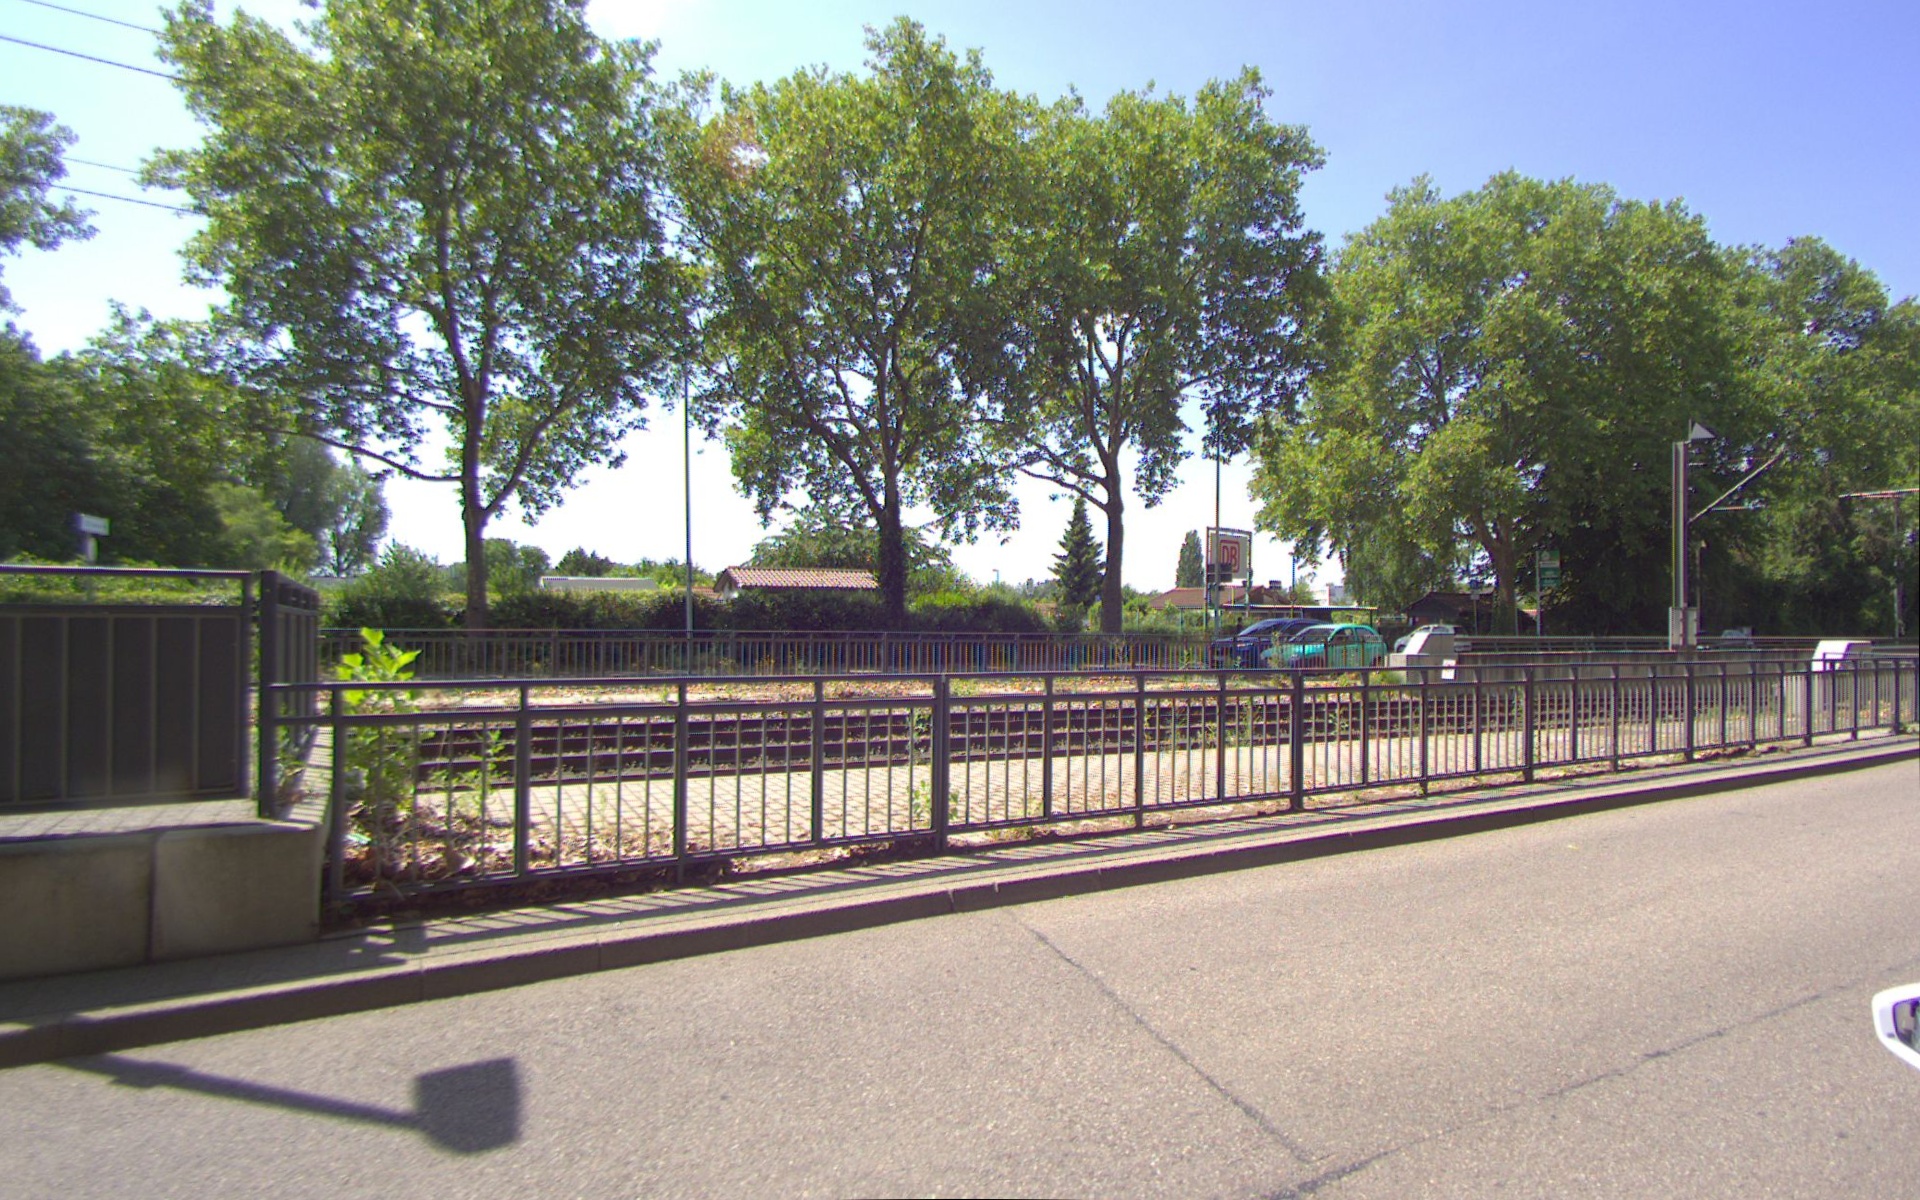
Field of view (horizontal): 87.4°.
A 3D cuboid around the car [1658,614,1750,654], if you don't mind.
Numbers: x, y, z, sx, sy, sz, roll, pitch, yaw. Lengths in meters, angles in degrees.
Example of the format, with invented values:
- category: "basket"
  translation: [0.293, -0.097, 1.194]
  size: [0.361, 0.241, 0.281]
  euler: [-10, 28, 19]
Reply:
- category: "car"
  translation: [33.800, 1.548, 45.615]
  size: [4.329, 1.706, 1.737]
  euler: [1, -1, -28]

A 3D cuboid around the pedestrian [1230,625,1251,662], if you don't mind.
- category: "pedestrian"
  translation: [11.378, 1.765, 40.690]
  size: [0.641, 1.471, 0.550]
  euler: [1, -1, -44]

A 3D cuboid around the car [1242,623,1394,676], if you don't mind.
- category: "car"
  translation: [9.345, 1.261, 26.203]
  size: [3.789, 1.282, 1.639]
  euler: [1, -1, -28]

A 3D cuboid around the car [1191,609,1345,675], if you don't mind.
- category: "car"
  translation: [9.060, 1.219, 29.504]
  size: [4.329, 1.706, 1.736]
  euler: [1, 2, -28]

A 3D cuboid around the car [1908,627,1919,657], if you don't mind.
- category: "car"
  translation: [58.181, 2.565, 59.321]
  size: [4.329, 1.706, 1.860]
  euler: [1, 2, -28]

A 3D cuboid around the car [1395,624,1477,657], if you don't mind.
- category: "car"
  translation: [23.489, 1.979, 49.623]
  size: [1.641, 1.495, 3.287]
  euler: [1, -1, -41]
